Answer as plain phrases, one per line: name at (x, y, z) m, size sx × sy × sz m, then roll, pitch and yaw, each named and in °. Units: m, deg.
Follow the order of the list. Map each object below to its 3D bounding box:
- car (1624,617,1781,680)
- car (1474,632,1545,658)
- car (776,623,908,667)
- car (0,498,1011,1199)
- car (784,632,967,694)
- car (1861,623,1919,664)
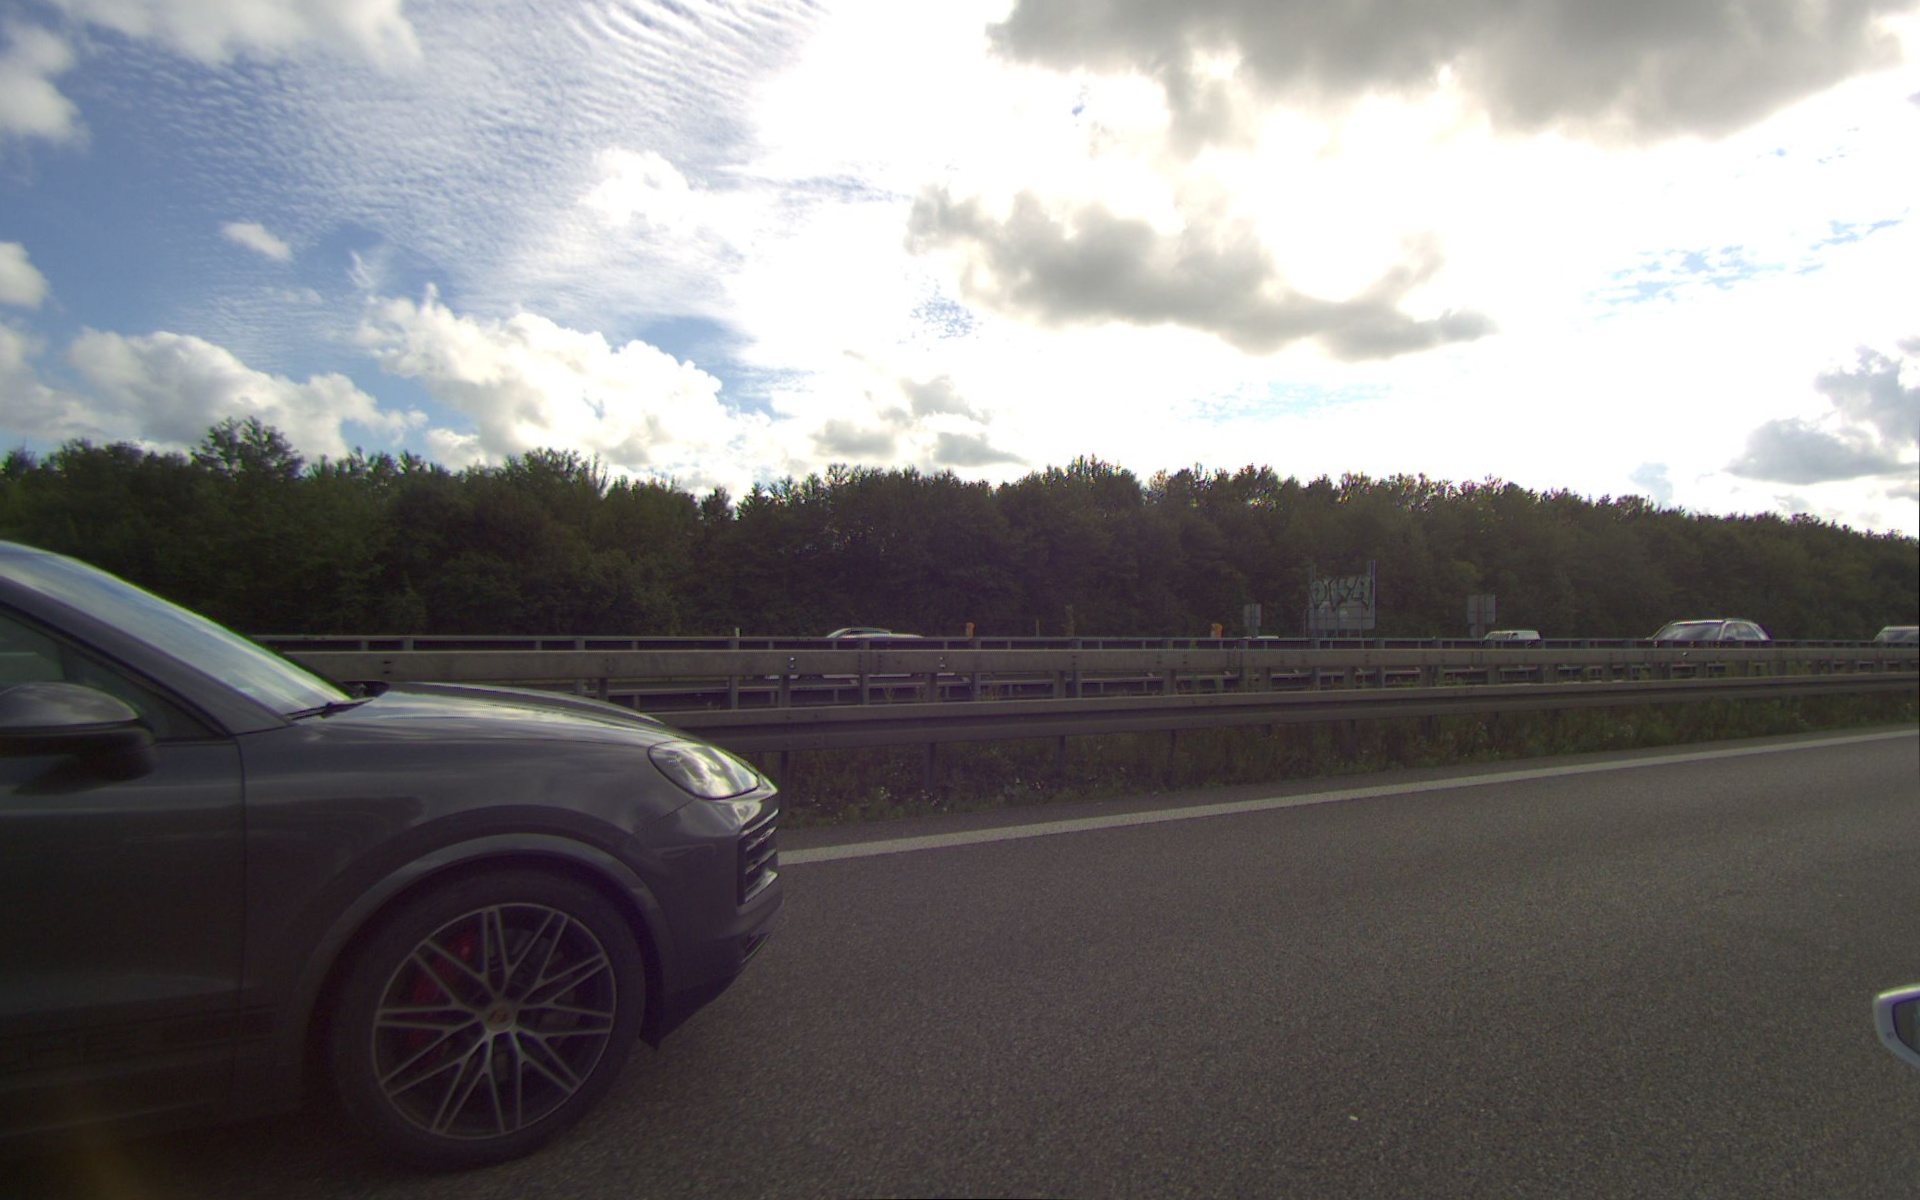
car at (19.283, 1.245, 26.047) m, size 4.150 × 1.499 × 1.728 m, roll 2°, pitch -1°, yaw -29°
car at (35.153, 2.840, 64.182) m, size 4.954 × 1.598 × 1.762 m, roll 1°, pitch -1°, yaw -31°
car at (-4.709, 1.786, 40.333) m, size 4.947 × 1.657 × 1.803 m, roll 1°, pitch -1°, yaw -29°
car at (-2.644, 0.618, 2.813) m, size 5.437 × 1.658 × 1.903 m, roll 2°, pitch -1°, yaw -31°
car at (-1.862, 1.368, 22.517) m, size 3.832 × 1.236 × 1.516 m, roll 1°, pitch -1°, yaw -31°
car at (41.165, 1.877, 43.421) m, size 4.947 × 1.658 × 1.803 m, roll 2°, pitch -1°, yaw -29°
